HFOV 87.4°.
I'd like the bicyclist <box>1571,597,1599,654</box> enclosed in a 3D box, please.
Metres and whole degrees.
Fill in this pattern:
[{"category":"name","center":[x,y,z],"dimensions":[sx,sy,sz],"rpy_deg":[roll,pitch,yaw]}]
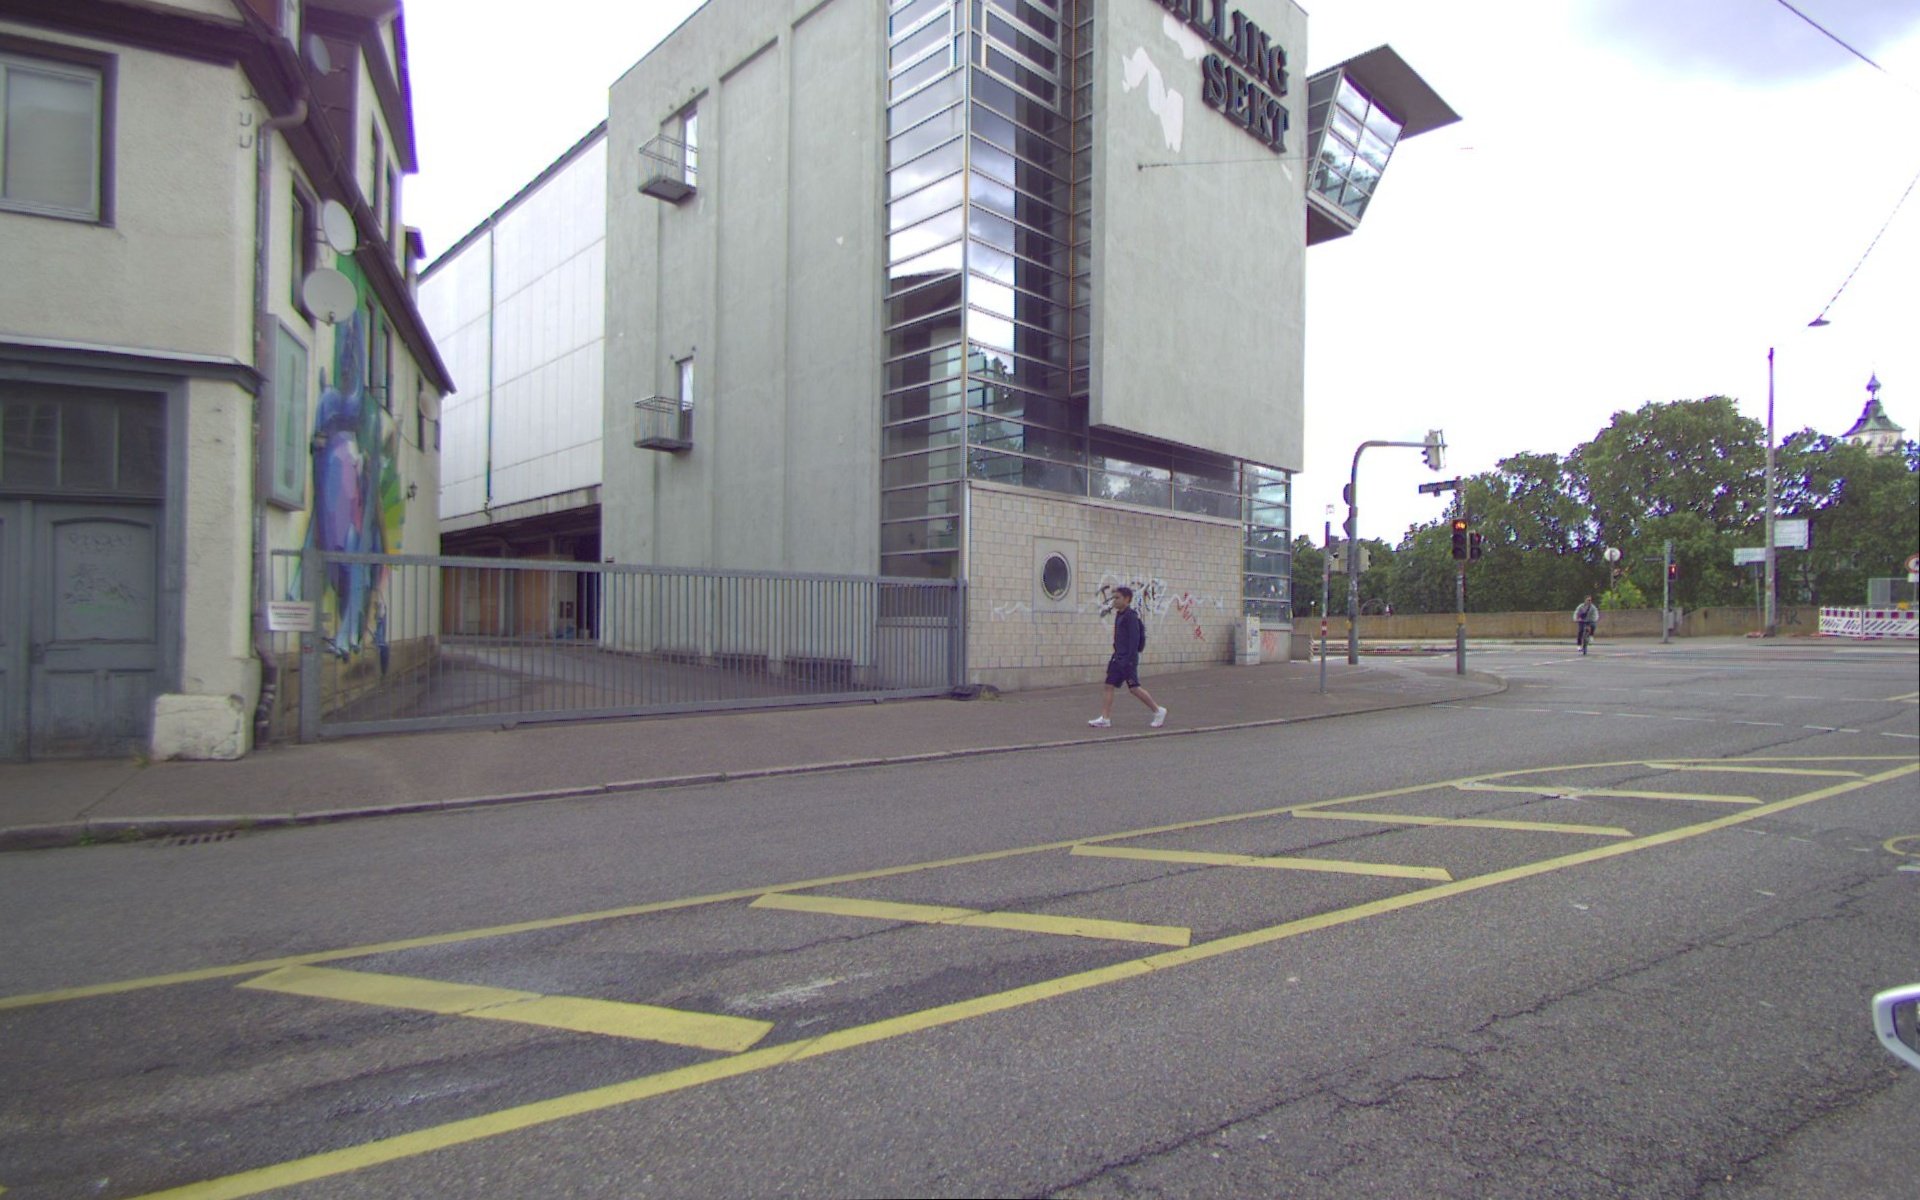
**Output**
[{"category":"bicyclist","center":[19.405,0.789,31.169],"dimensions":[0.713,1.723,0.809],"rpy_deg":[0,-1,33]}]

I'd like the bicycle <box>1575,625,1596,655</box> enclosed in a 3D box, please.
[{"category":"bicycle","center":[19.429,1.220,31.192],"dimensions":[0.533,0.904,1.875],"rpy_deg":[0,-1,33]}]

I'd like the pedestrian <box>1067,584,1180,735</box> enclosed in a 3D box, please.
[{"category":"pedestrian","center":[2.167,0.738,13.394],"dimensions":[1.077,1.911,1.050],"rpy_deg":[-1,1,-27]}]
